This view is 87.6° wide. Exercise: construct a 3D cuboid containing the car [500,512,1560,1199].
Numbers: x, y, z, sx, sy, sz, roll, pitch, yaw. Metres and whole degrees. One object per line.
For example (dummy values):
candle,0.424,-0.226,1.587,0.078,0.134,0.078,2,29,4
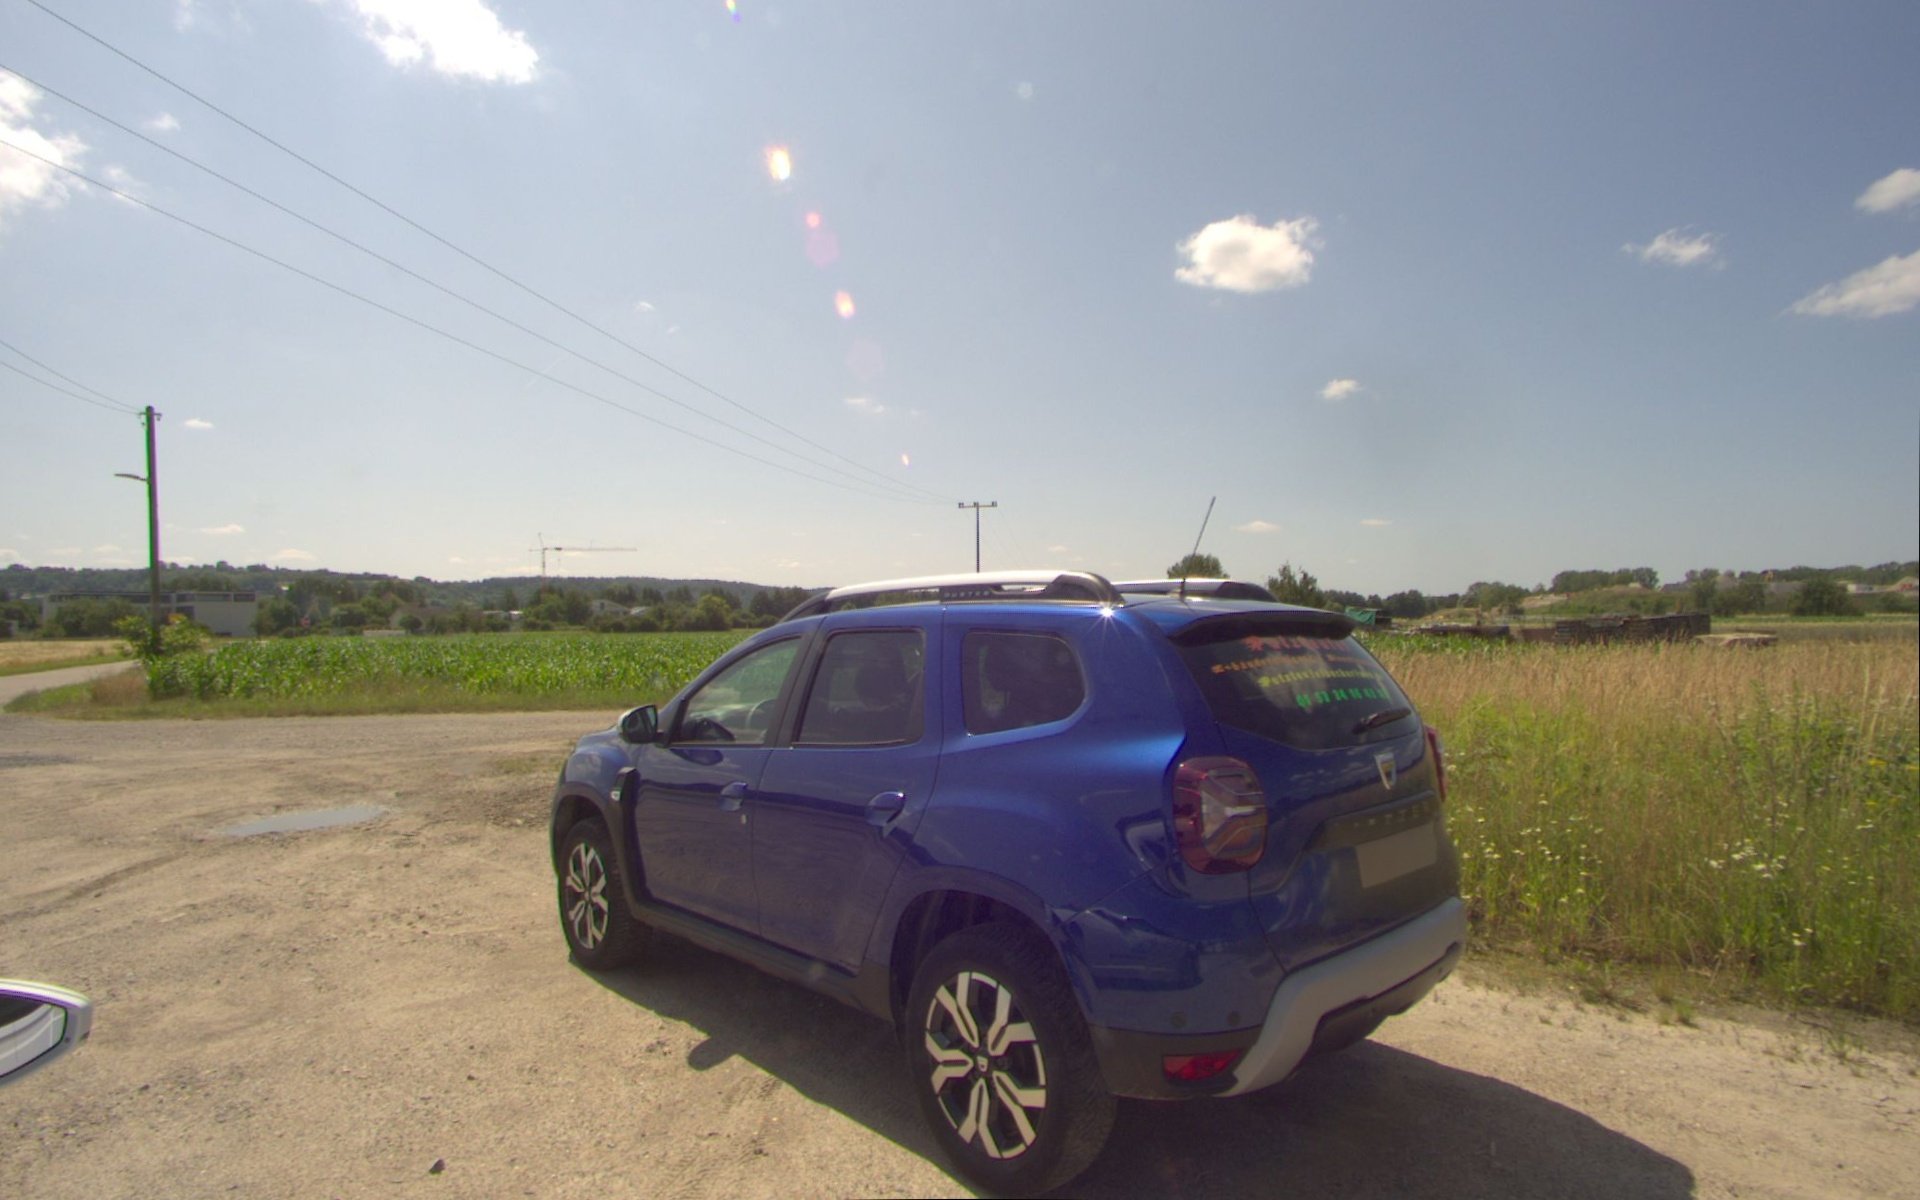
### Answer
car,-0.226,0.768,4.240,1.846,1.682,4.418,2,-3,-43
